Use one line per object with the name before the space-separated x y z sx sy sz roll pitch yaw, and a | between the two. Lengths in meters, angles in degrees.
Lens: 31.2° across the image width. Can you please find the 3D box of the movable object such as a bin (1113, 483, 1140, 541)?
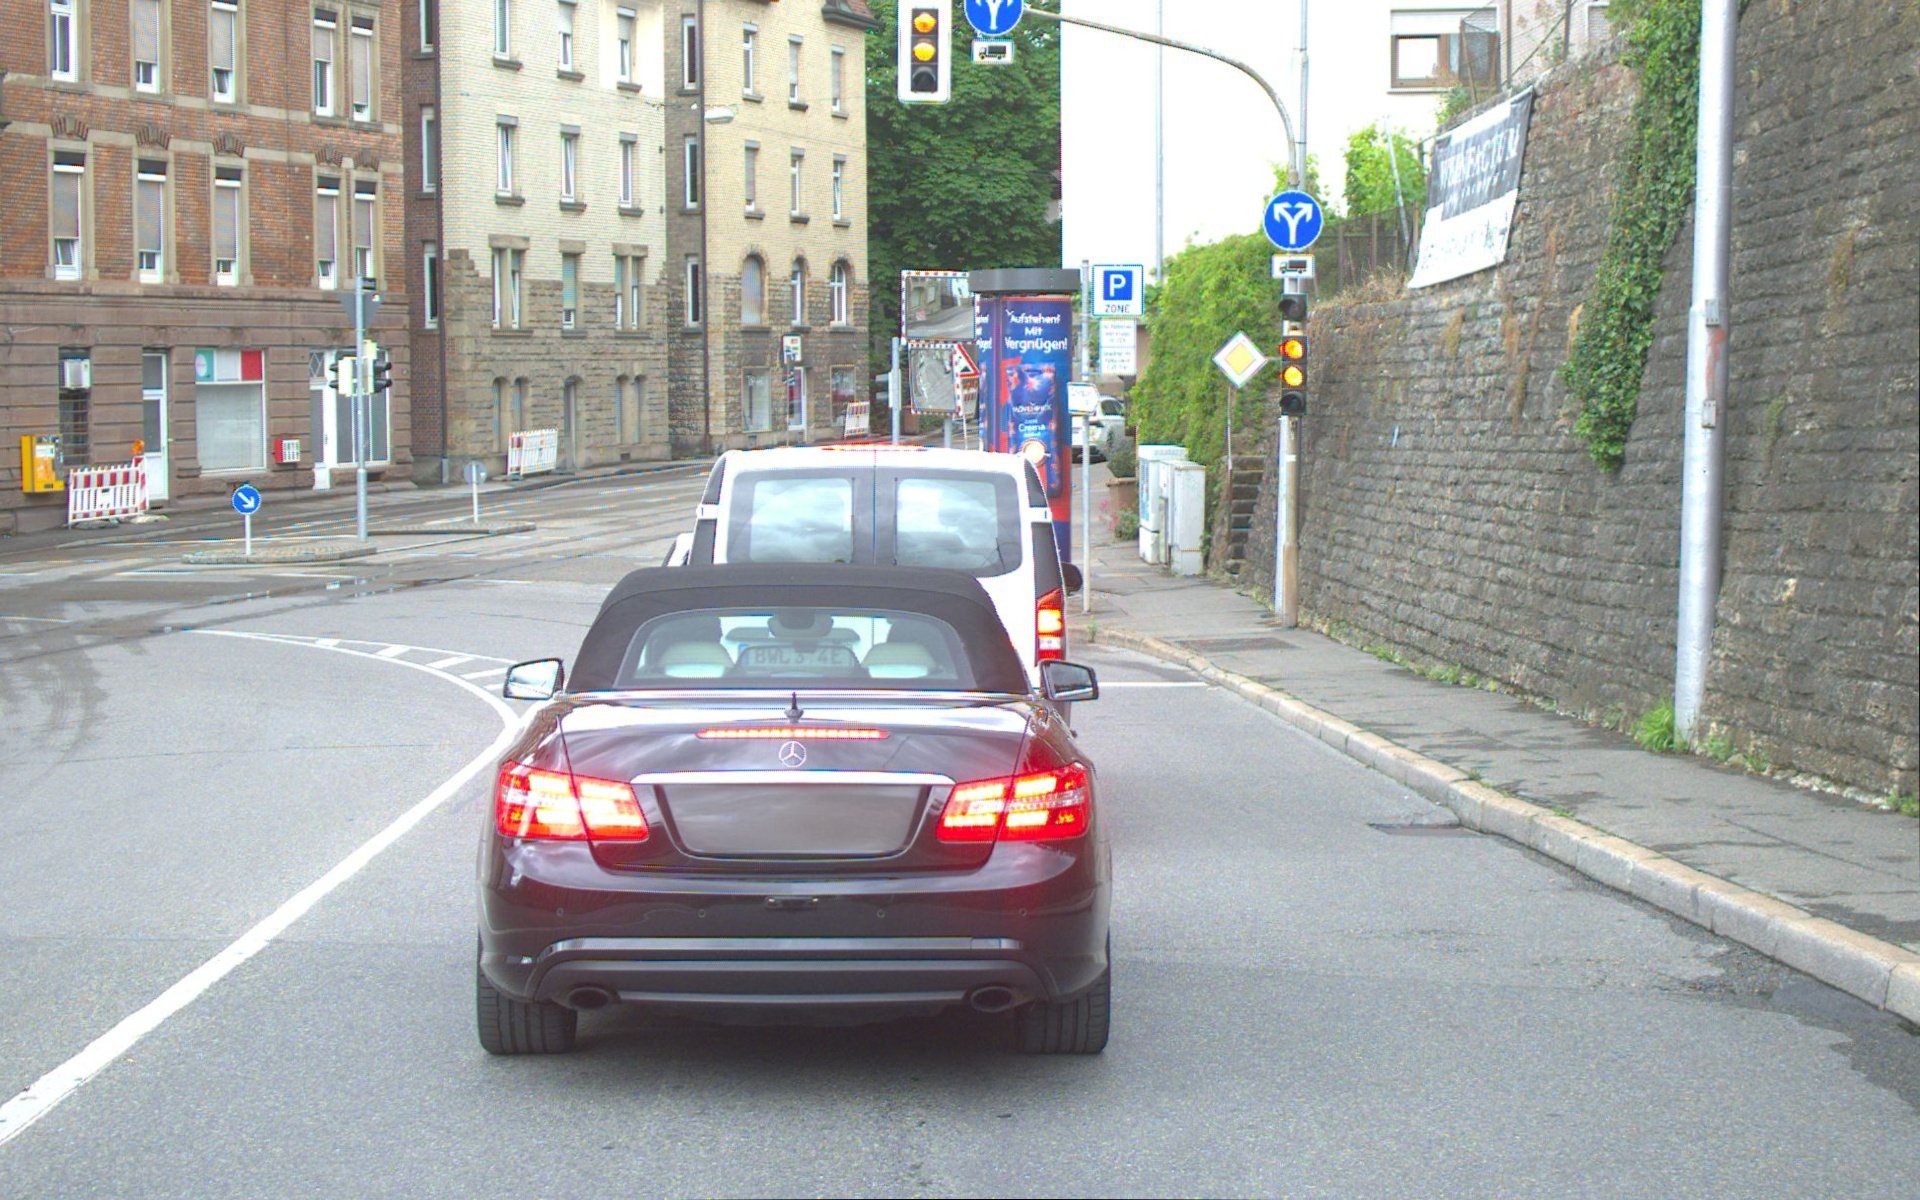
movable object such as a bin | 2.602 -1.384 53.815 0.343 0.908 0.495 0 2 -6

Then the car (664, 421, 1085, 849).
car | -0.416 0.088 17.948 1.891 1.922 4.646 -1 2 -1

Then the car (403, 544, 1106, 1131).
car | -0.547 0.566 10.899 1.761 1.404 4.399 -1 2 -1

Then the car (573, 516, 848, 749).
car | -1.678 0.166 24.175 1.681 1.461 3.919 -1 2 -1
